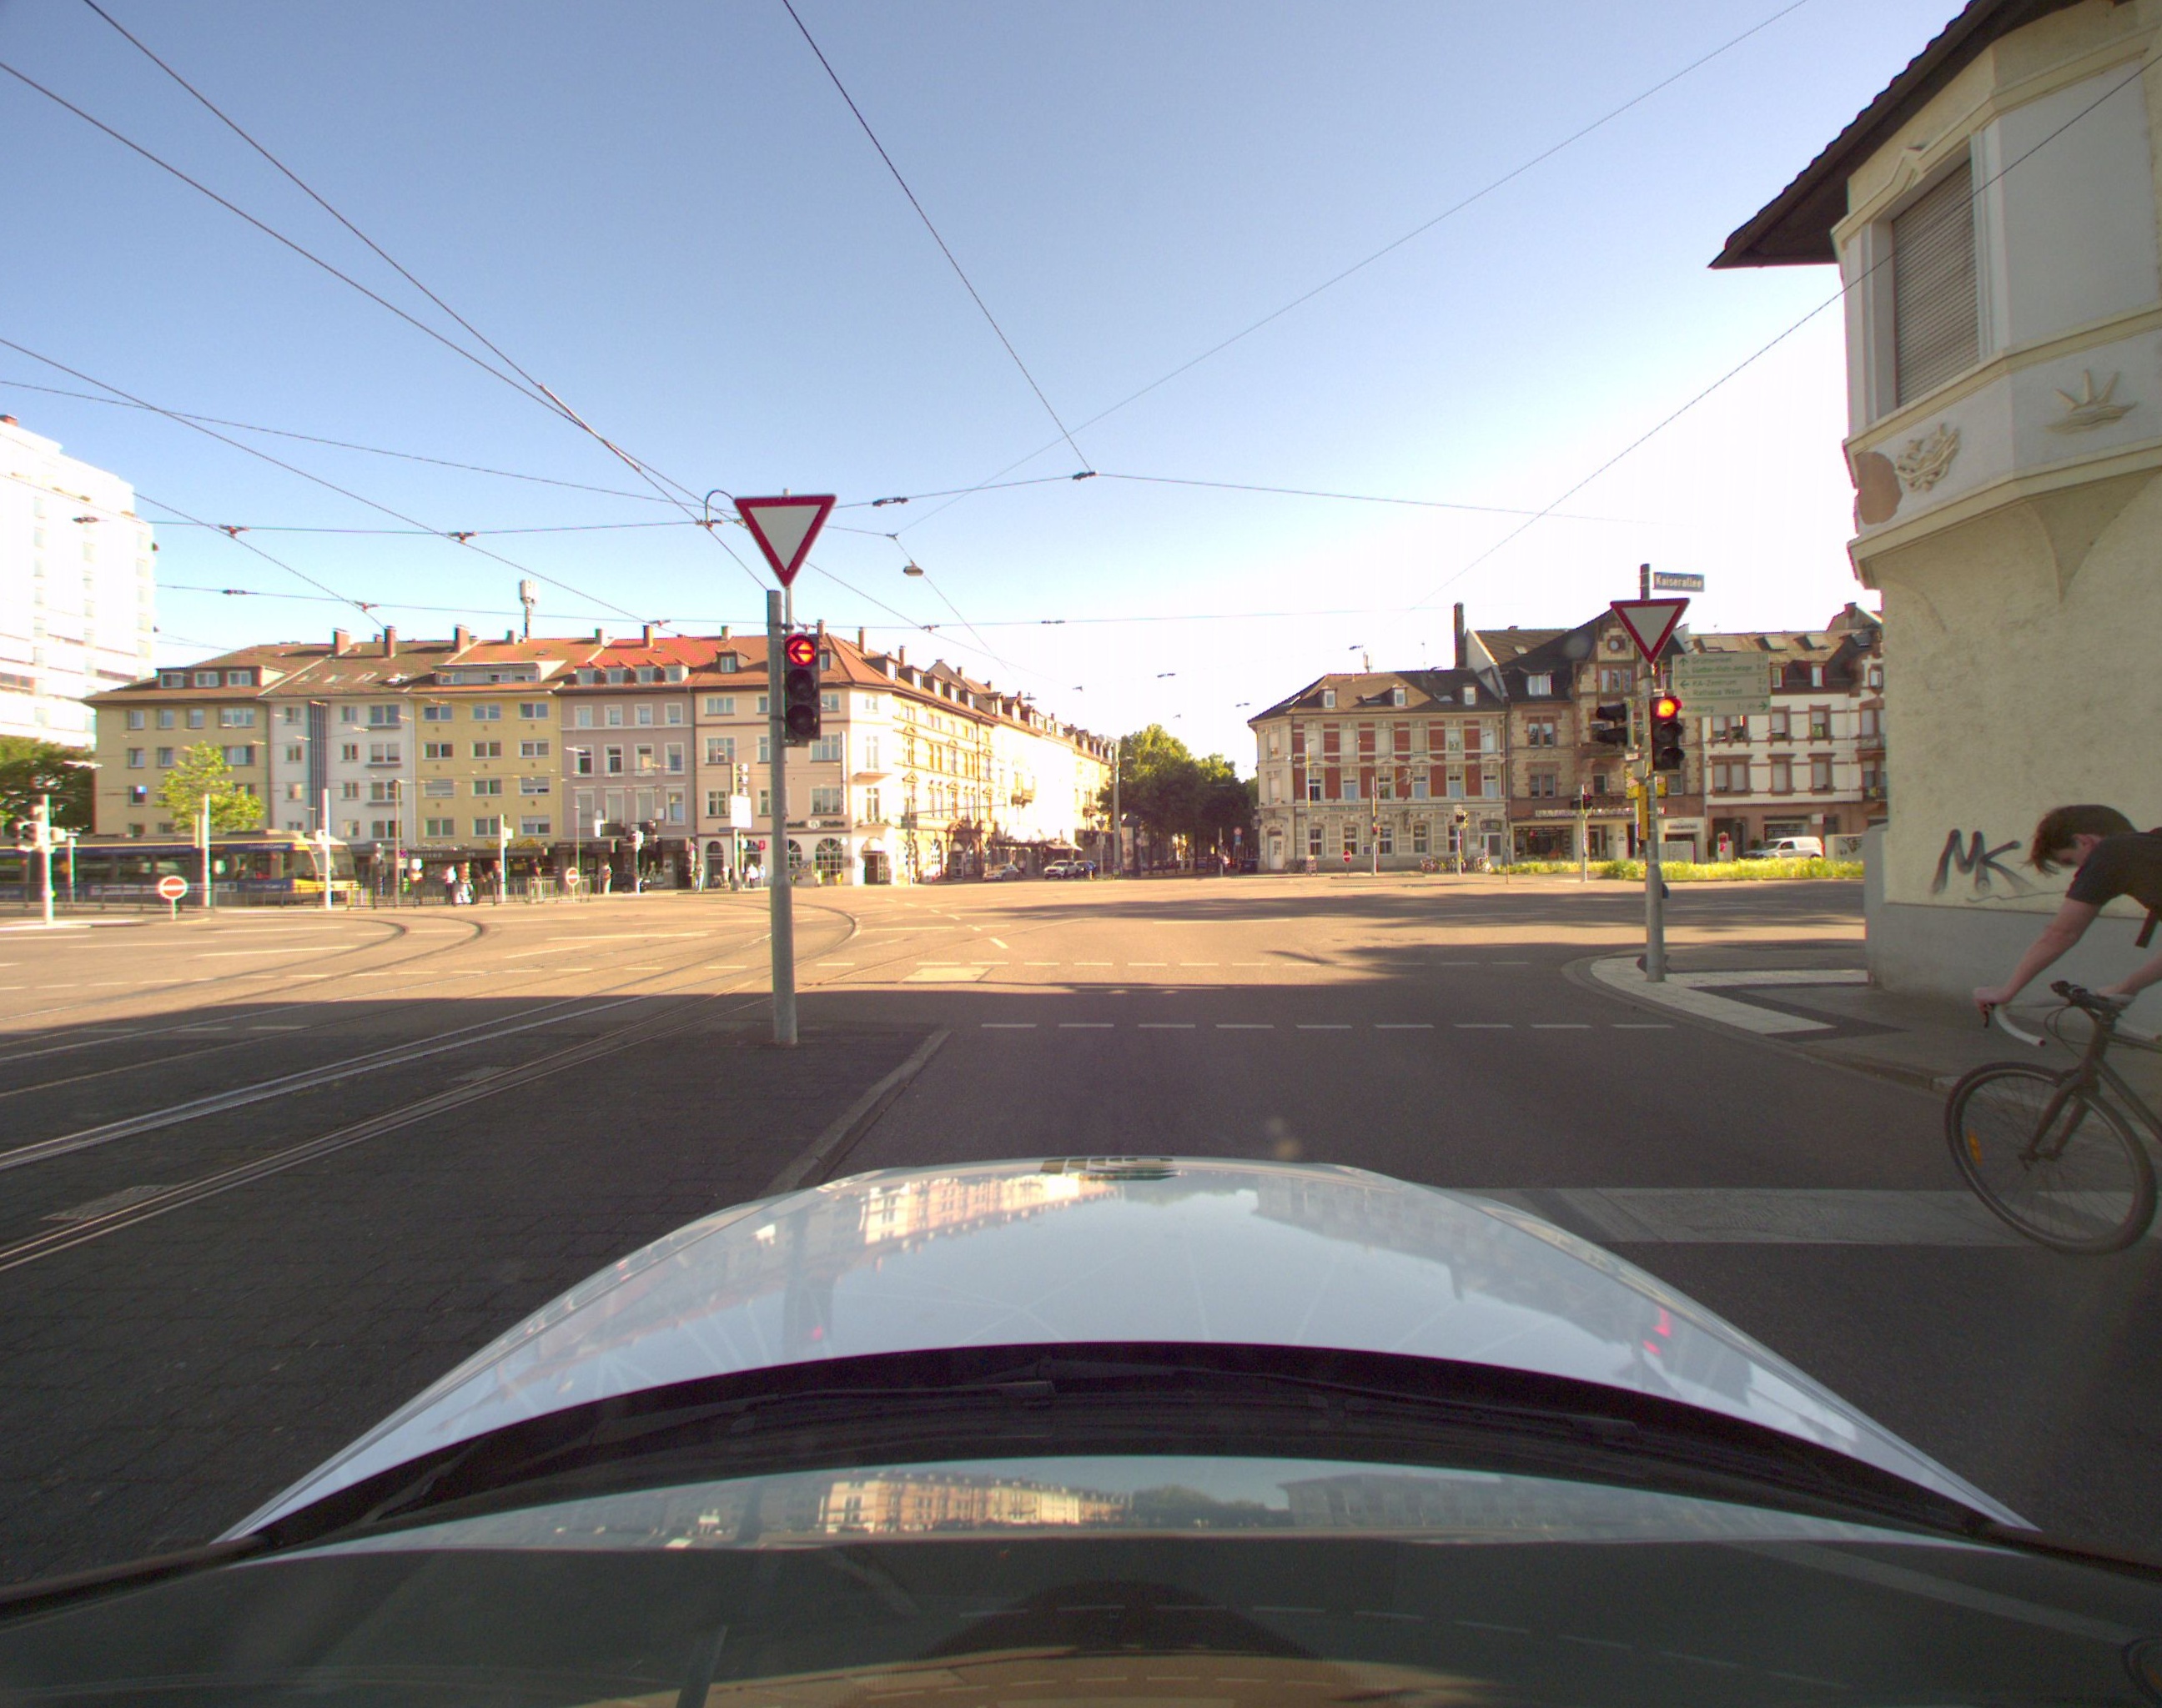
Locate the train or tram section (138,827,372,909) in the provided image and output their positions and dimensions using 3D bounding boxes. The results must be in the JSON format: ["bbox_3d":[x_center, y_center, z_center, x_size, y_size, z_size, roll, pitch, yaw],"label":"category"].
[{"bbox_3d":[-38.397,0.612,38.054,7.911,3.500,2.823,-1,0,0],"label":"train or tram section"}]

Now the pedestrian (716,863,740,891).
[{"bbox_3d":[-23.000,1.503,53.094,0.998,1.775,0.945,-2,0,16],"label":"pedestrian"}]

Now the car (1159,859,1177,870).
[{"bbox_3d":[13.922,1.698,130.322,1.822,1.552,4.412,-2,0,19],"label":"car"}]

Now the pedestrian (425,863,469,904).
[{"bbox_3d":[-25.301,1.181,32.507,0.998,1.598,0.946,-2,0,18],"label":"pedestrian"}]

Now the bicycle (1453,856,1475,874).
[{"bbox_3d":[24.782,0.708,52.678,0.615,1.143,2.178,-2,0,7],"label":"bicycle"}]

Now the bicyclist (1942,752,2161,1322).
[{"bbox_3d":[3.600,0.560,2.583,0.559,1.754,1.102,-2,0,4],"label":"bicyclist"}]

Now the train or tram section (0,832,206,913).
[{"bbox_3d":[-46.577,0.846,37.899,8.409,3.500,2.823,-1,0,-1],"label":"train or tram section"}]

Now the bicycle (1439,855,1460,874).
[{"bbox_3d":[23.862,0.670,52.773,0.615,1.143,2.178,-2,0,7],"label":"bicycle"}]

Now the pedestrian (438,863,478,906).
[{"bbox_3d":[-24.154,1.164,31.578,0.996,1.598,0.947,-2,0,34],"label":"pedestrian"}]

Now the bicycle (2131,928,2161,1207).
[{"bbox_3d":[4.535,0.857,2.435,0.516,1.116,1.815,-2,0,4],"label":"bicycle"}]

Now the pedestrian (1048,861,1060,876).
[{"bbox_3d":[-2.910,1.572,88.683,0.921,1.535,1.142,-2,0,16],"label":"pedestrian"}]

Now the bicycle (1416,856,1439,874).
[{"bbox_3d":[22.504,0.699,52.975,0.802,1.143,2.178,-2,0,7],"label":"bicycle"}]

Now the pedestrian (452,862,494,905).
[{"bbox_3d":[-23.182,1.119,31.051,0.996,1.598,0.947,-2,0,31],"label":"pedestrian"}]

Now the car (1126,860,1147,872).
[{"bbox_3d":[7.541,1.666,110.970,1.978,1.486,4.017,-1,0,16],"label":"car"}]

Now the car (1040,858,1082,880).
[{"bbox_3d":[-1.603,1.249,67.528,1.977,1.684,4.413,-2,0,20],"label":"car"}]

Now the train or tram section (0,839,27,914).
[{"bbox_3d":[-56.697,1.210,37.701,11.953,3.500,2.779,-1,0,-1],"label":"train or tram section"}]

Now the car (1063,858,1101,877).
[{"bbox_3d":[0.122,1.216,74.006,1.977,1.612,4.413,-2,0,20],"label":"car"}]

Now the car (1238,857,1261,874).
[{"bbox_3d":[17.021,1.138,82.205,1.978,1.585,4.017,-2,0,16],"label":"car"}]

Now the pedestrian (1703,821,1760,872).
[{"bbox_3d":[27.116,-0.308,33.988,1.314,2.044,1.307,-2,0,1],"label":"pedestrian"}]

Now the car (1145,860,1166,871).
[{"bbox_3d":[11.263,1.729,122.590,1.977,1.612,4.413,-2,0,20],"label":"car"}]

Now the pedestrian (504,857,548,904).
[{"bbox_3d":[-21.811,1.033,32.017,0.998,1.775,0.945,-2,0,17],"label":"pedestrian"}]

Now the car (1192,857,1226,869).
[{"bbox_3d":[18.056,1.307,114.952,4.335,1.612,2.012,-2,0,28],"label":"car"}]

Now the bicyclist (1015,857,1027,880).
[{"bbox_3d":[-4.808,1.130,65.329,0.674,1.820,1.075,-2,0,14],"label":"bicyclist"}]

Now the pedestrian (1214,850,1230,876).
[{"bbox_3d":[9.876,0.634,57.210,1.040,1.744,0.810,-1,0,8],"label":"pedestrian"}]

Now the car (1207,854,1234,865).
[{"bbox_3d":[22.841,0.968,133.291,3.948,1.706,2.013,-2,0,32],"label":"car"}]

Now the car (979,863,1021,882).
[{"bbox_3d":[-6.678,1.520,67.371,1.883,1.455,4.020,-2,0,20],"label":"car"}]

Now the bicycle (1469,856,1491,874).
[{"bbox_3d":[25.759,0.687,52.588,0.606,1.136,2.139,-2,0,7],"label":"bicycle"}]

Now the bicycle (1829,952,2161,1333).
[{"bbox_3d":[3.615,0.947,2.660,0.642,1.010,1.930,-2,0,4],"label":"bicycle"}]

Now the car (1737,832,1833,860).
[{"bbox_3d":[45.362,-0.482,52.542,4.317,1.640,2.152,-2,0,1],"label":"car"}]

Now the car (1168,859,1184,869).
[{"bbox_3d":[15.840,1.718,136.156,1.750,1.549,4.411,-2,0,18],"label":"car"}]

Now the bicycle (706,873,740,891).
[{"bbox_3d":[-25.049,1.957,56.987,2.083,1.181,0.631,-1,0,1],"label":"bicycle"}]

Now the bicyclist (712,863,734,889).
[{"bbox_3d":[-25.104,1.519,57.176,1.161,1.775,0.748,-1,0,0],"label":"bicyclist"}]

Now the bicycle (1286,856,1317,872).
[{"bbox_3d":[15.504,0.721,57.179,2.081,1.124,0.366,0,-1,-3],"label":"bicycle"}]

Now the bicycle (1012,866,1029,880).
[{"bbox_3d":[-4.812,1.510,65.286,0.675,1.066,2.133,-2,0,14],"label":"bicycle"}]

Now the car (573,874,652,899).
[{"bbox_3d":[-30.616,2.139,53.328,3.974,1.453,2.000,-1,0,-1],"label":"car"}]

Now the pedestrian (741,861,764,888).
[{"bbox_3d":[-21.917,1.372,54.368,0.929,1.775,1.016,-2,0,29],"label":"pedestrian"}]

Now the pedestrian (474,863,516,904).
[{"bbox_3d":[-23.237,1.164,32.296,0.997,1.598,0.946,-2,0,22],"label":"pedestrian"}]

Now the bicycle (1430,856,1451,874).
[{"bbox_3d":[23.282,0.690,52.826,0.615,1.143,2.178,-2,0,7],"label":"bicycle"}]

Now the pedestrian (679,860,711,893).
[{"bbox_3d":[-20.125,1.151,42.455,1.076,1.685,1.104,-2,0,1],"label":"pedestrian"}]
